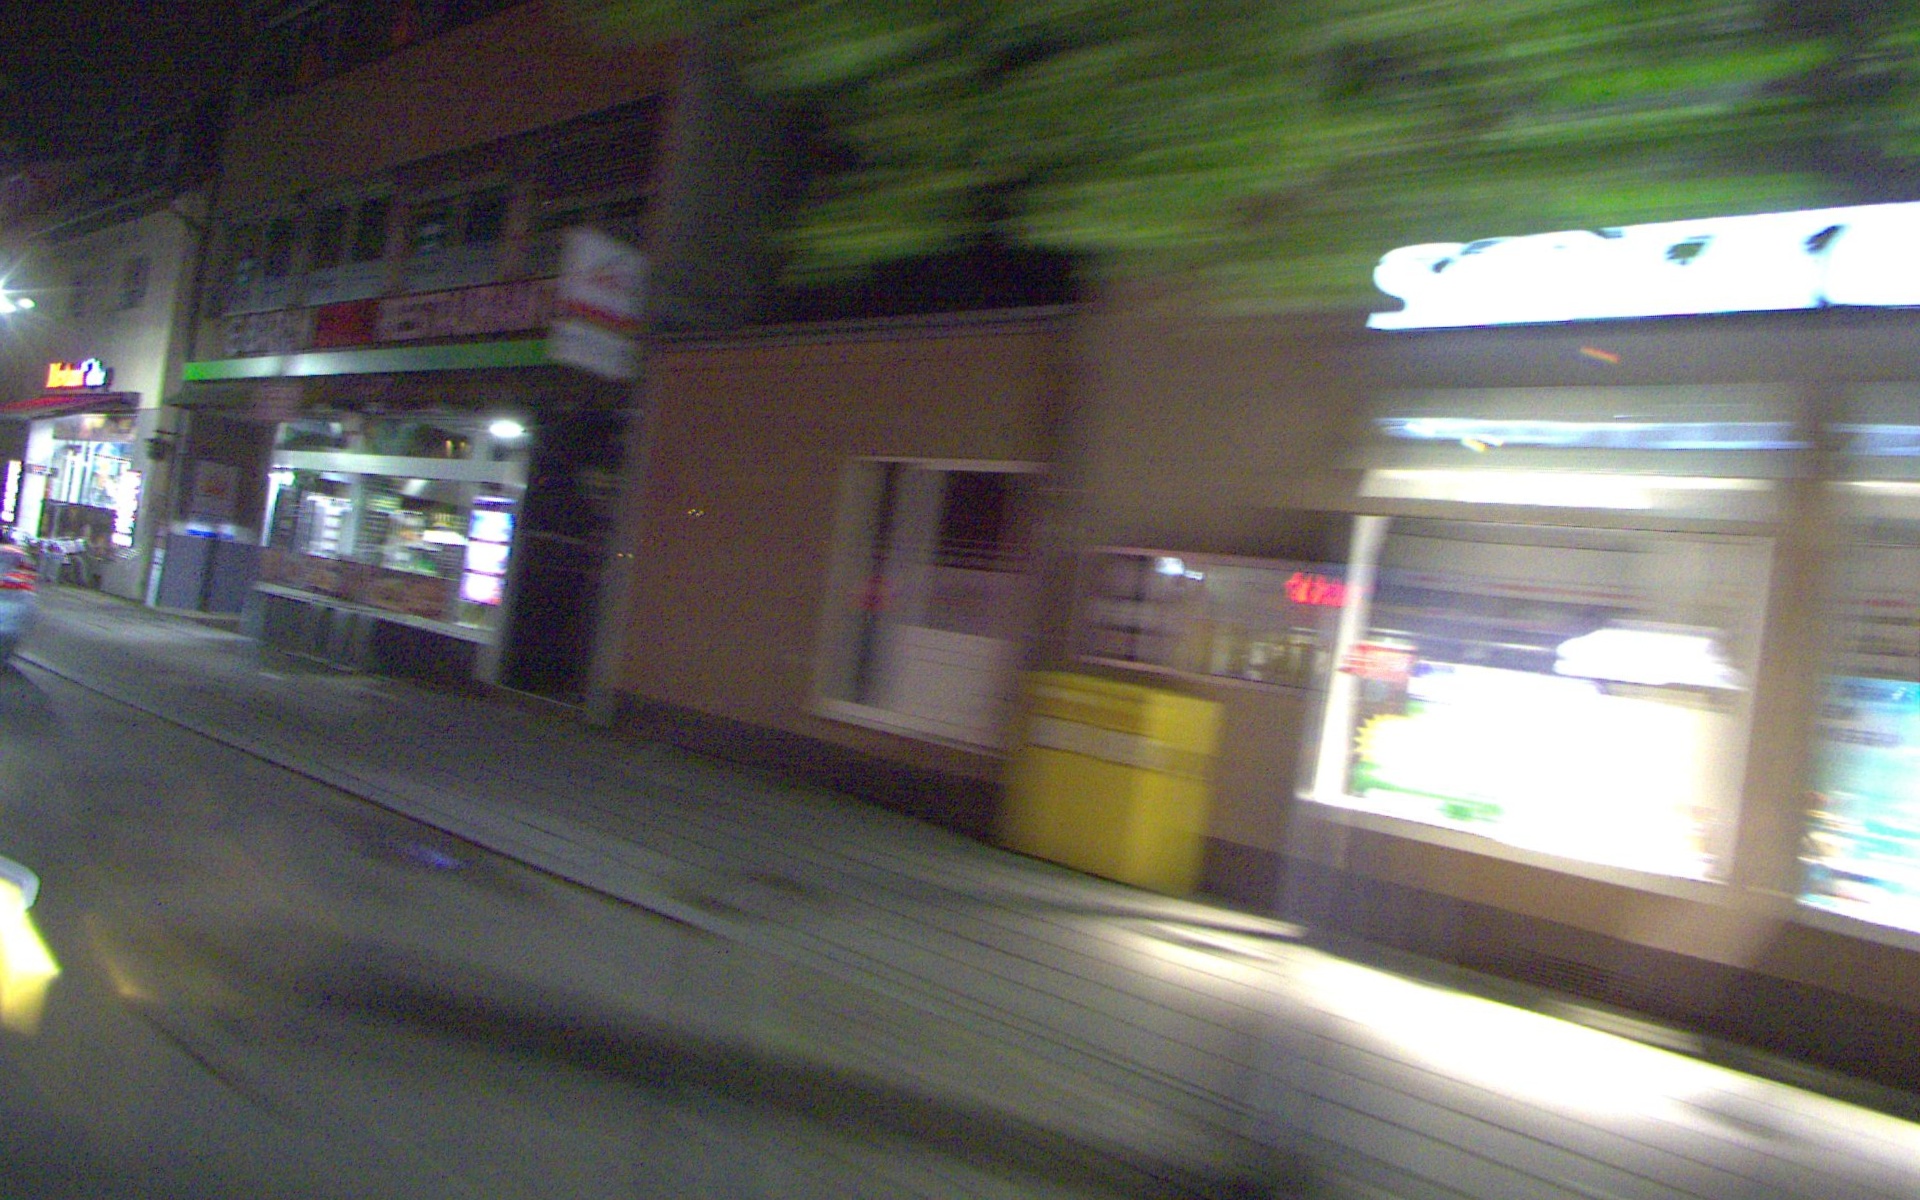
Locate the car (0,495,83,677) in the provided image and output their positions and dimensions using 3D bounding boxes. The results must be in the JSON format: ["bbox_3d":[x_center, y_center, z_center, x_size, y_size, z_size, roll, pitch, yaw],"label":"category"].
[{"bbox_3d":[-9.922,-0.394,8.945,4.419,1.457,1.738,7,-1,30],"label":"car"}]
